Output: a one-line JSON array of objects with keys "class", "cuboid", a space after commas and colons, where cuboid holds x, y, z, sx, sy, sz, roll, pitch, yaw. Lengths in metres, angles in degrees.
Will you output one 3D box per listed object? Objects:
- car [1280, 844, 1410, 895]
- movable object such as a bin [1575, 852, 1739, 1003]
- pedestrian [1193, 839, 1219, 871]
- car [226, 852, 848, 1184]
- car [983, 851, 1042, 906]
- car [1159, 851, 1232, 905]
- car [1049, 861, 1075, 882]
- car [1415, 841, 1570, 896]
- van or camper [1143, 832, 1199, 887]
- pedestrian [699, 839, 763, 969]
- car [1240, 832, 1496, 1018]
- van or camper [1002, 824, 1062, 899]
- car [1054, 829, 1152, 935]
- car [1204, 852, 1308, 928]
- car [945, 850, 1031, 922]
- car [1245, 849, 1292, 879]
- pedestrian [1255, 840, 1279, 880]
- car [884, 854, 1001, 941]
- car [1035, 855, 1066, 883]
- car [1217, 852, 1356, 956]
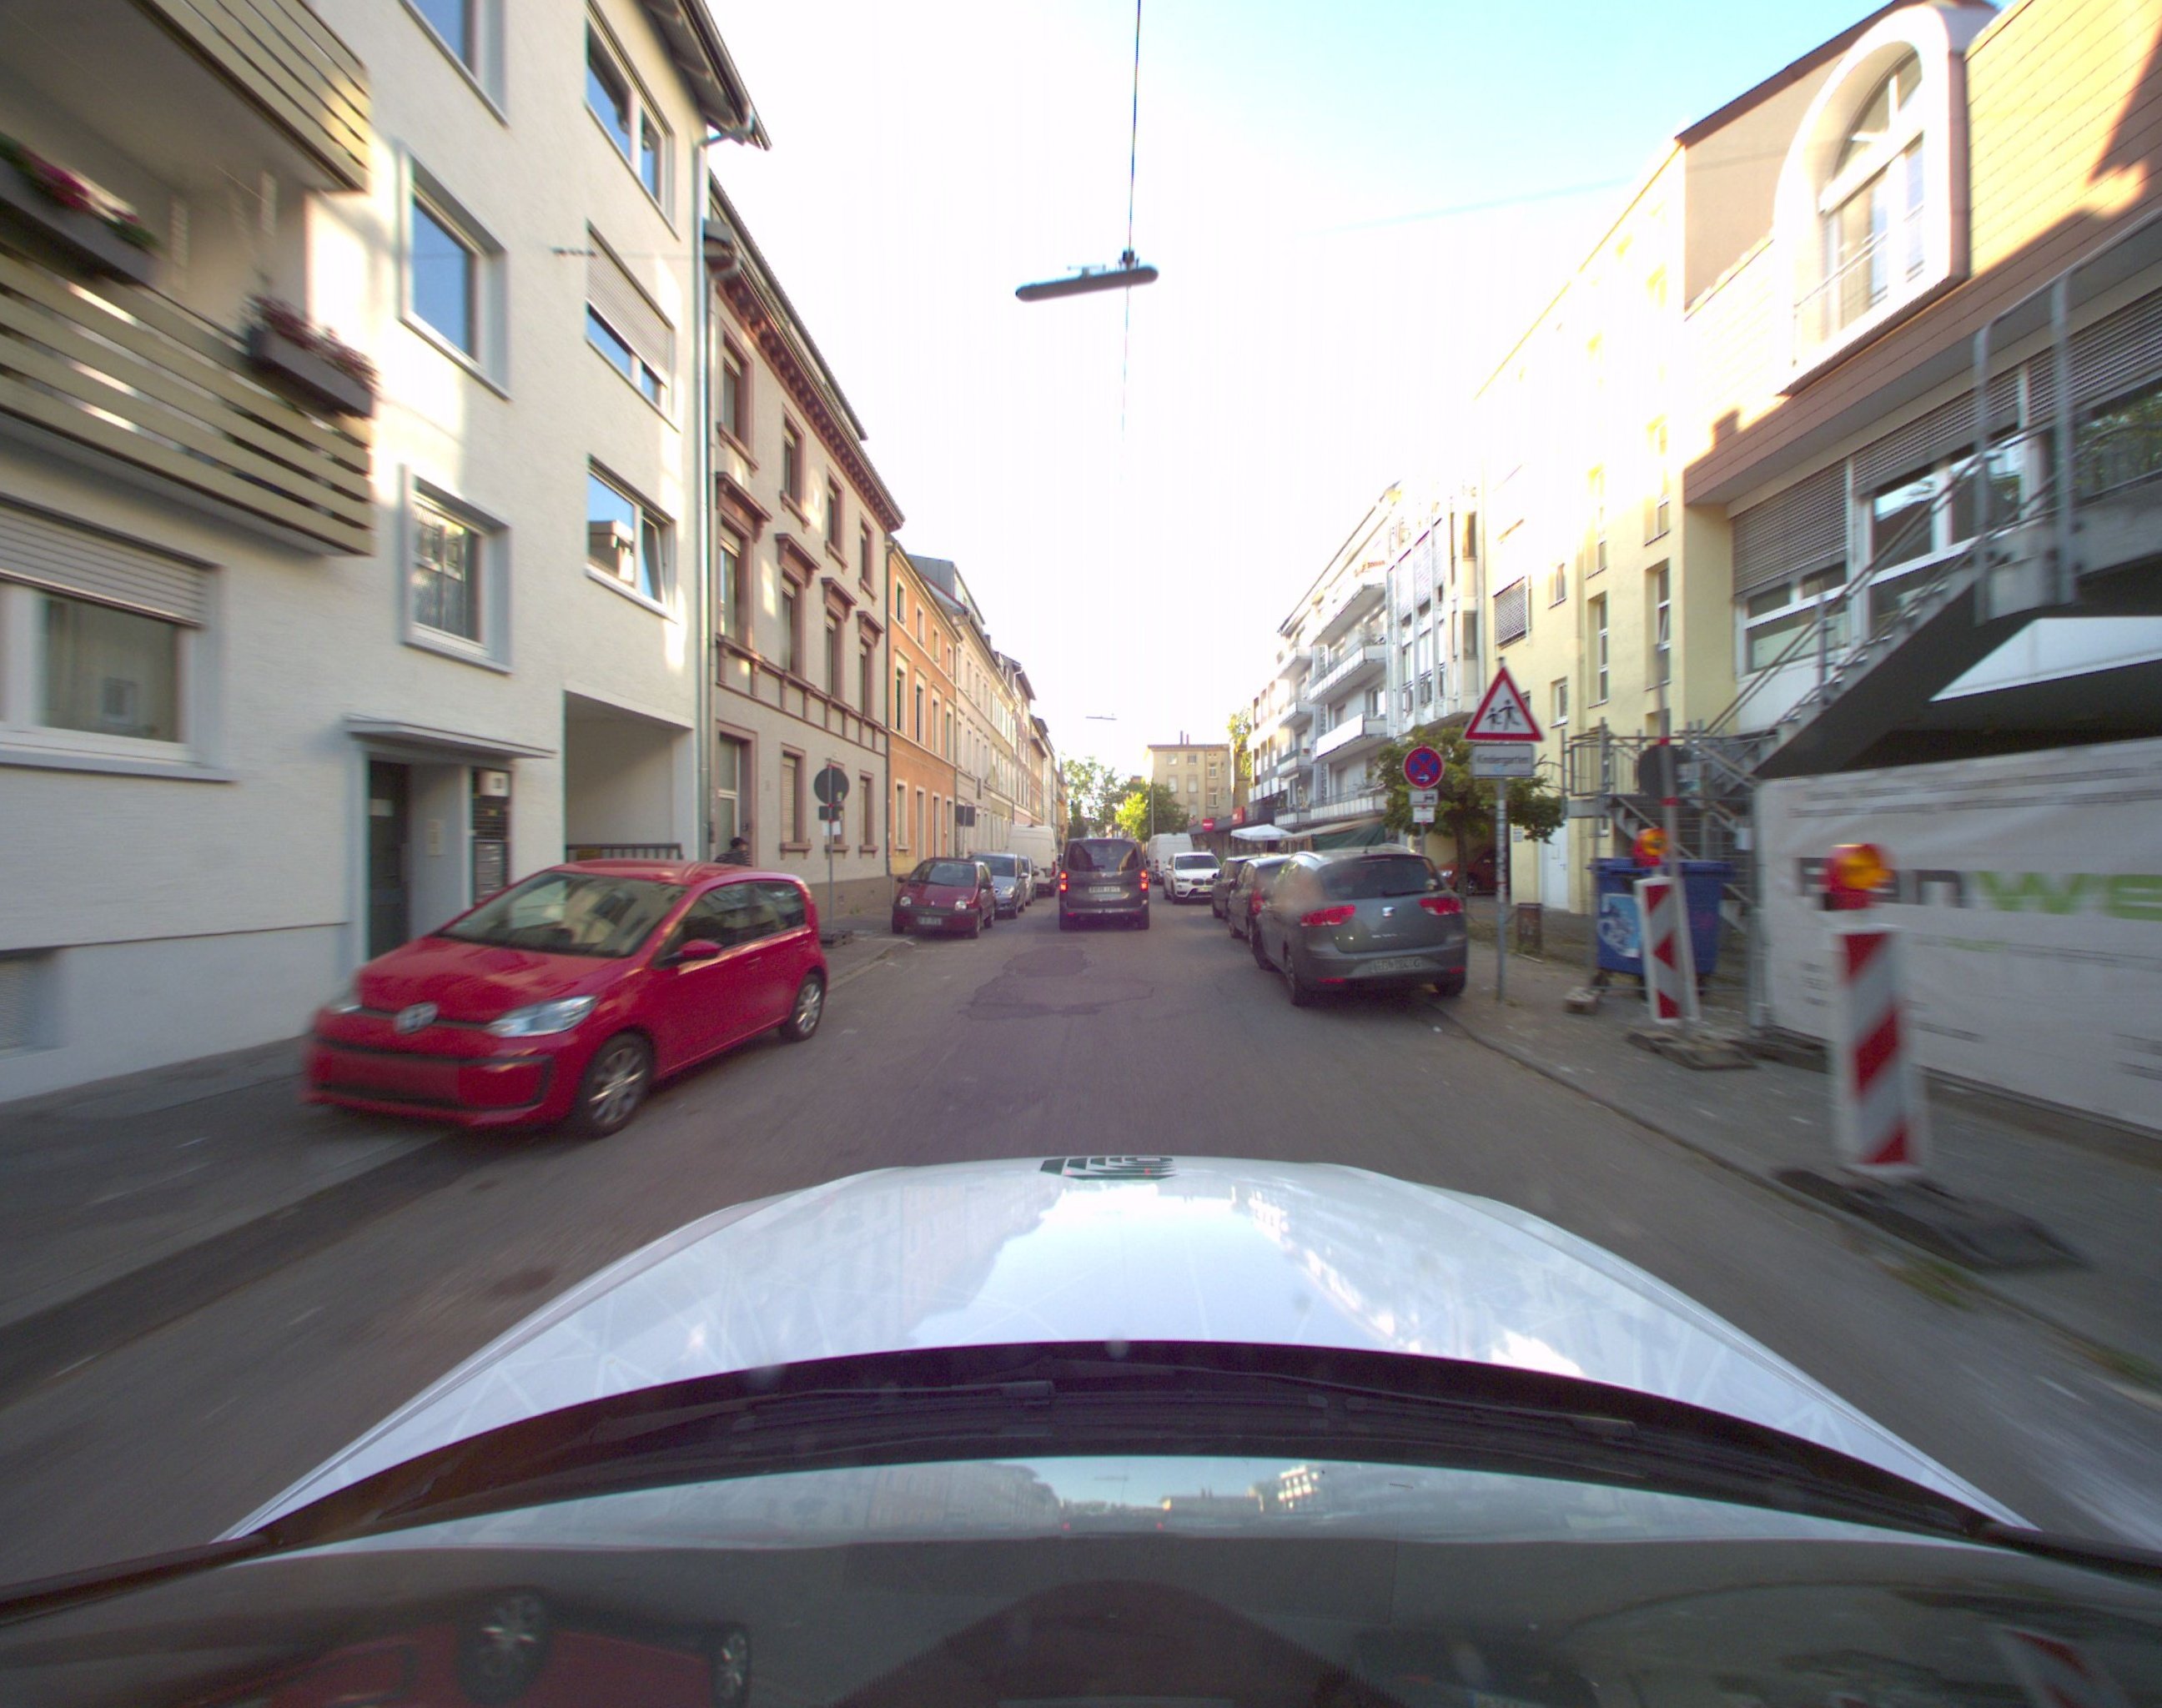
[{"class": "car", "cuboid": [8.908, 0.511, 27.717, 3.882, 1.607, 1.694, 1, 0, 0]}, {"class": "movable object such as a bin", "cuboid": [5.717, 0.684, 8.092, 1.256, 1.376, 0.795, 1, 0, -24]}, {"class": "pedestrian", "cuboid": [6.264, 0.056, 40.856, 0.874, 1.555, 0.869, -3, 0, -20]}, {"class": "car", "cuboid": [-3.250, 0.797, 5.843, 1.660, 1.485, 3.612, 5, 1, 7]}, {"class": "car", "cuboid": [-2.222, 0.762, 27.267, 1.584, 1.686, 3.653, 0, 0, 1]}, {"class": "car", "cuboid": [3.682, 0.723, 26.998, 1.717, 1.612, 4.586, 0, 0, -1]}, {"class": "car", "cuboid": [-1.396, 1.209, 59.117, 1.783, 1.397, 4.465, 1, 0, -1]}, {"class": "car", "cuboid": [13.379, 0.444, 26.654, 4.097, 1.659, 1.998, -1, 0, -3]}, {"class": "van or camper", "cuboid": [4.625, 0.235, 43.075, 2.093, 2.602, 7.511, -1, 0, 0]}, {"class": "pedestrian", "cuboid": [-4.556, 0.632, 10.626, 0.493, 1.638, 0.666, 1, 0, 1]}, {"class": "car", "cuboid": [3.074, 0.638, 9.758, 1.741, 1.683, 4.530, 0, 0, 4]}, {"class": "van or camper", "cuboid": [-1.852, 0.267, 32.954, 1.943, 2.649, 7.139, -2, 0, 0]}, {"class": "car", "cuboid": [0.470, 0.536, 18.022, 1.851, 2.013, 4.001, -2, 0, 1]}, {"class": "car", "cuboid": [3.907, 0.735, 18.821, 1.614, 1.486, 4.126, -2, 0, 2]}, {"class": "car", "cuboid": [-2.354, 0.758, 21.494, 1.705, 1.644, 3.979, 2, 0, 0]}, {"class": "car", "cuboid": [9.308, 0.474, 40.283, 1.585, 1.416, 3.247, -1, 0, 25]}, {"class": "pedestrian", "cuboid": [10.055, 0.309, 43.966, 0.874, 2.145, 0.951, -1, 0, -15]}, {"class": "car", "cuboid": [-2.631, 0.777, 16.168, 1.651, 1.448, 3.286, 3, 0, 0]}, {"class": "car", "cuboid": [-1.745, 0.844, 46.683, 1.707, 1.497, 3.852, 0, 0, -3]}, {"class": "car", "cuboid": [3.422, 0.755, 14.179, 1.615, 1.557, 3.696, 0, 0, 2]}]
